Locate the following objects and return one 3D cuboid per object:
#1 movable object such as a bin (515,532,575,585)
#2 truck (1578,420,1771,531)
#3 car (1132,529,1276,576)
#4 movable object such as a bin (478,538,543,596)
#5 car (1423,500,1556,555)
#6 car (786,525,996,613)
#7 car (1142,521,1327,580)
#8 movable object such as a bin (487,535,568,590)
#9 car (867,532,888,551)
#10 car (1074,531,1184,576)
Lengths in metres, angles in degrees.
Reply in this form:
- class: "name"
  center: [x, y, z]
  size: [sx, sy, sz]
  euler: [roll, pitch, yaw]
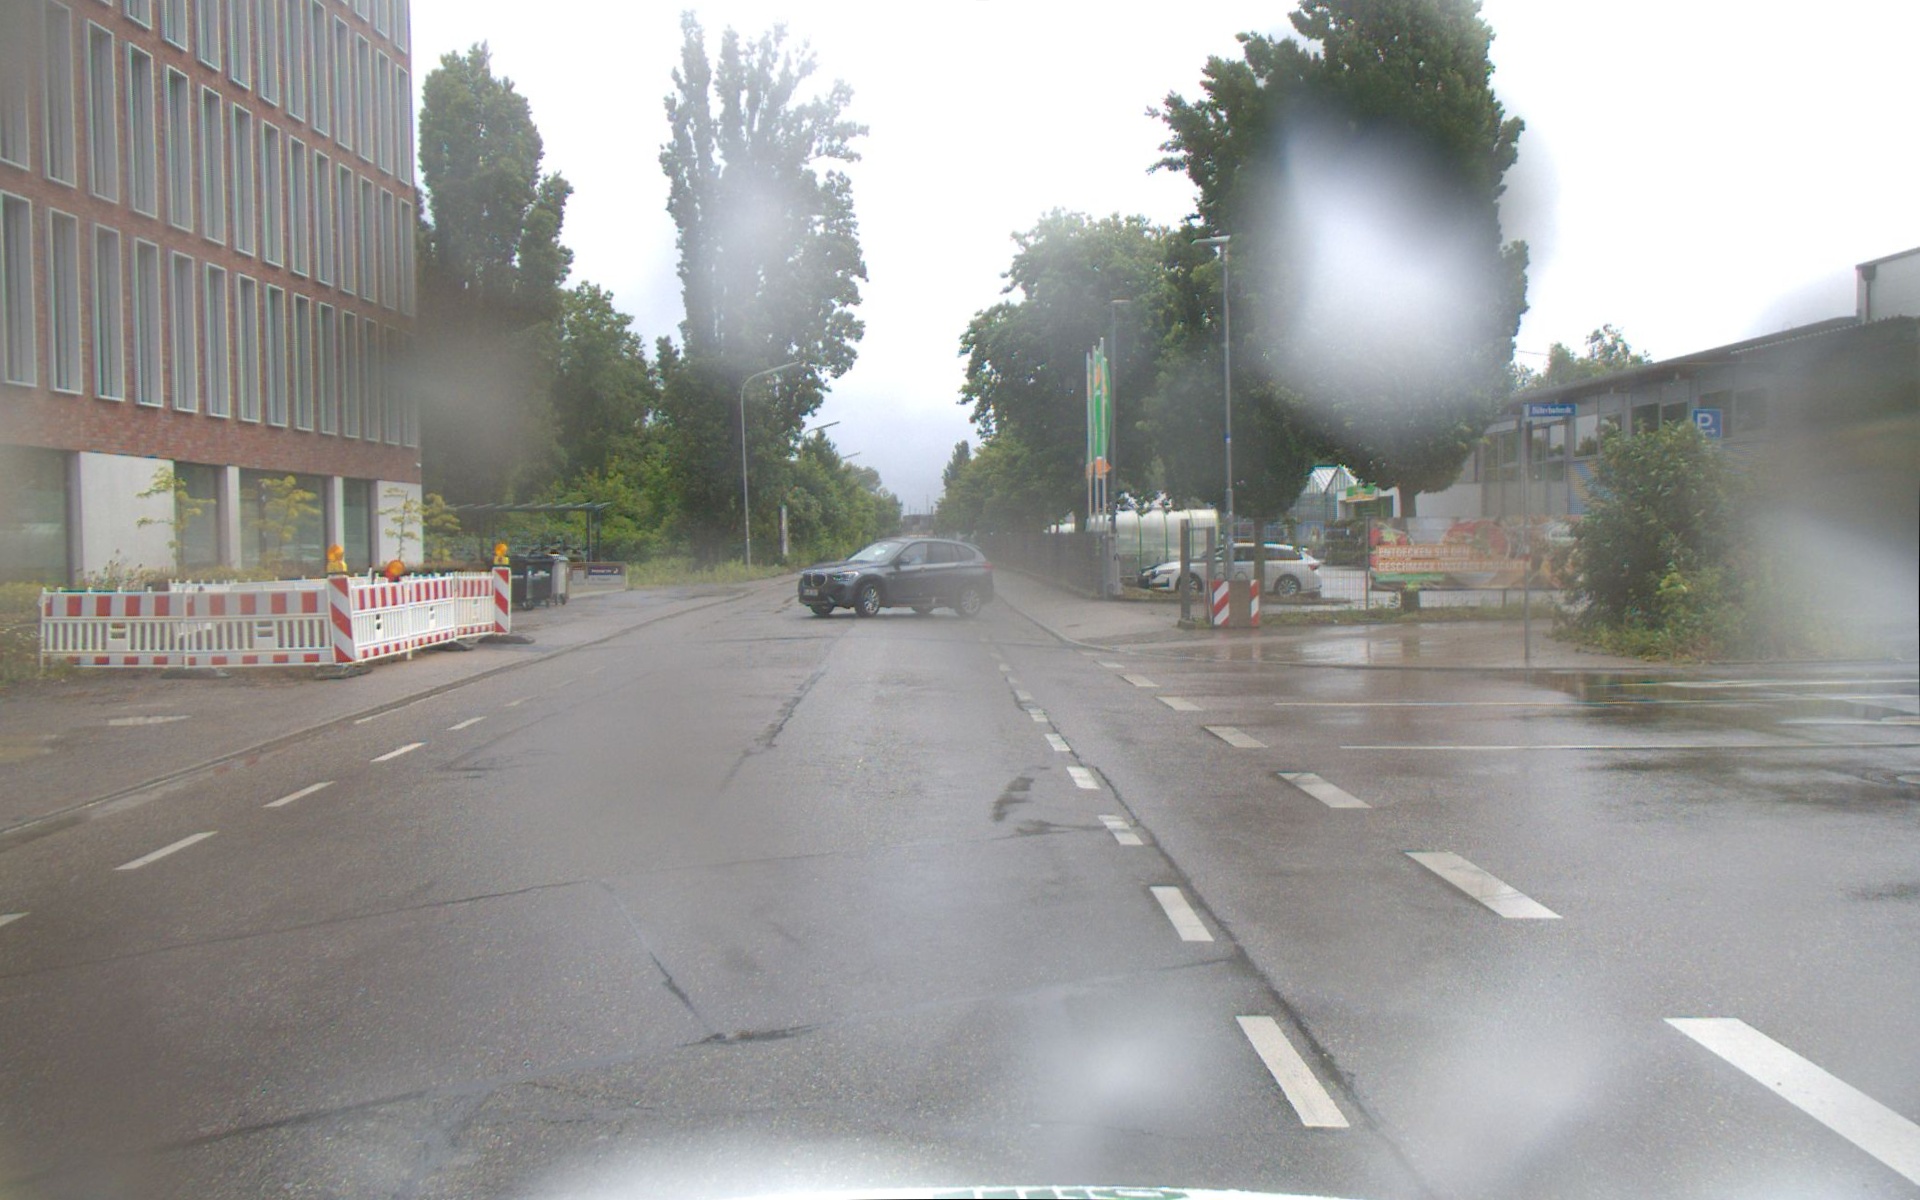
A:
- class: "movable object such as a bin"
  center: [-11.036, -1.126, 44.072]
  size: [1.270, 1.355, 1.358]
  euler: [-1, 2, -3]
- class: "truck"
  center: [19.440, -3.320, 45.485]
  size: [2.253, 2.705, 7.420]
  euler: [-3, 3, 2]
- class: "car"
  center: [6.961, -1.376, 47.333]
  size: [3.859, 1.278, 1.618]
  euler: [-1, 2, -3]
- class: "movable object such as a bin"
  center: [-10.816, -0.819, 39.833]
  size: [1.271, 1.331, 1.446]
  euler: [-2, 2, -8]
- class: "car"
  center: [19.707, -2.712, 61.657]
  size: [4.273, 1.864, 2.064]
  euler: [-2, 3, 0]
- class: "car"
  center: [-1.372, -0.670, 33.929]
  size: [4.115, 1.595, 1.738]
  euler: [-4, 3, -42]
- class: "car"
  center: [7.323, -1.341, 44.426]
  size: [4.609, 1.488, 1.890]
  euler: [-1, 3, -3]
- class: "movable object such as a bin"
  center: [-10.893, -0.943, 41.702]
  size: [1.346, 1.331, 1.449]
  euler: [0, 3, 20]
- class: "car"
  center: [-7.486, -5.329, 150.188]
  size: [1.698, 1.475, 4.381]
  euler: [-4, 3, 0]
- class: "car"
  center: [6.658, -1.865, 65.444]
  size: [4.124, 1.628, 1.824]
  euler: [-2, 3, -3]
